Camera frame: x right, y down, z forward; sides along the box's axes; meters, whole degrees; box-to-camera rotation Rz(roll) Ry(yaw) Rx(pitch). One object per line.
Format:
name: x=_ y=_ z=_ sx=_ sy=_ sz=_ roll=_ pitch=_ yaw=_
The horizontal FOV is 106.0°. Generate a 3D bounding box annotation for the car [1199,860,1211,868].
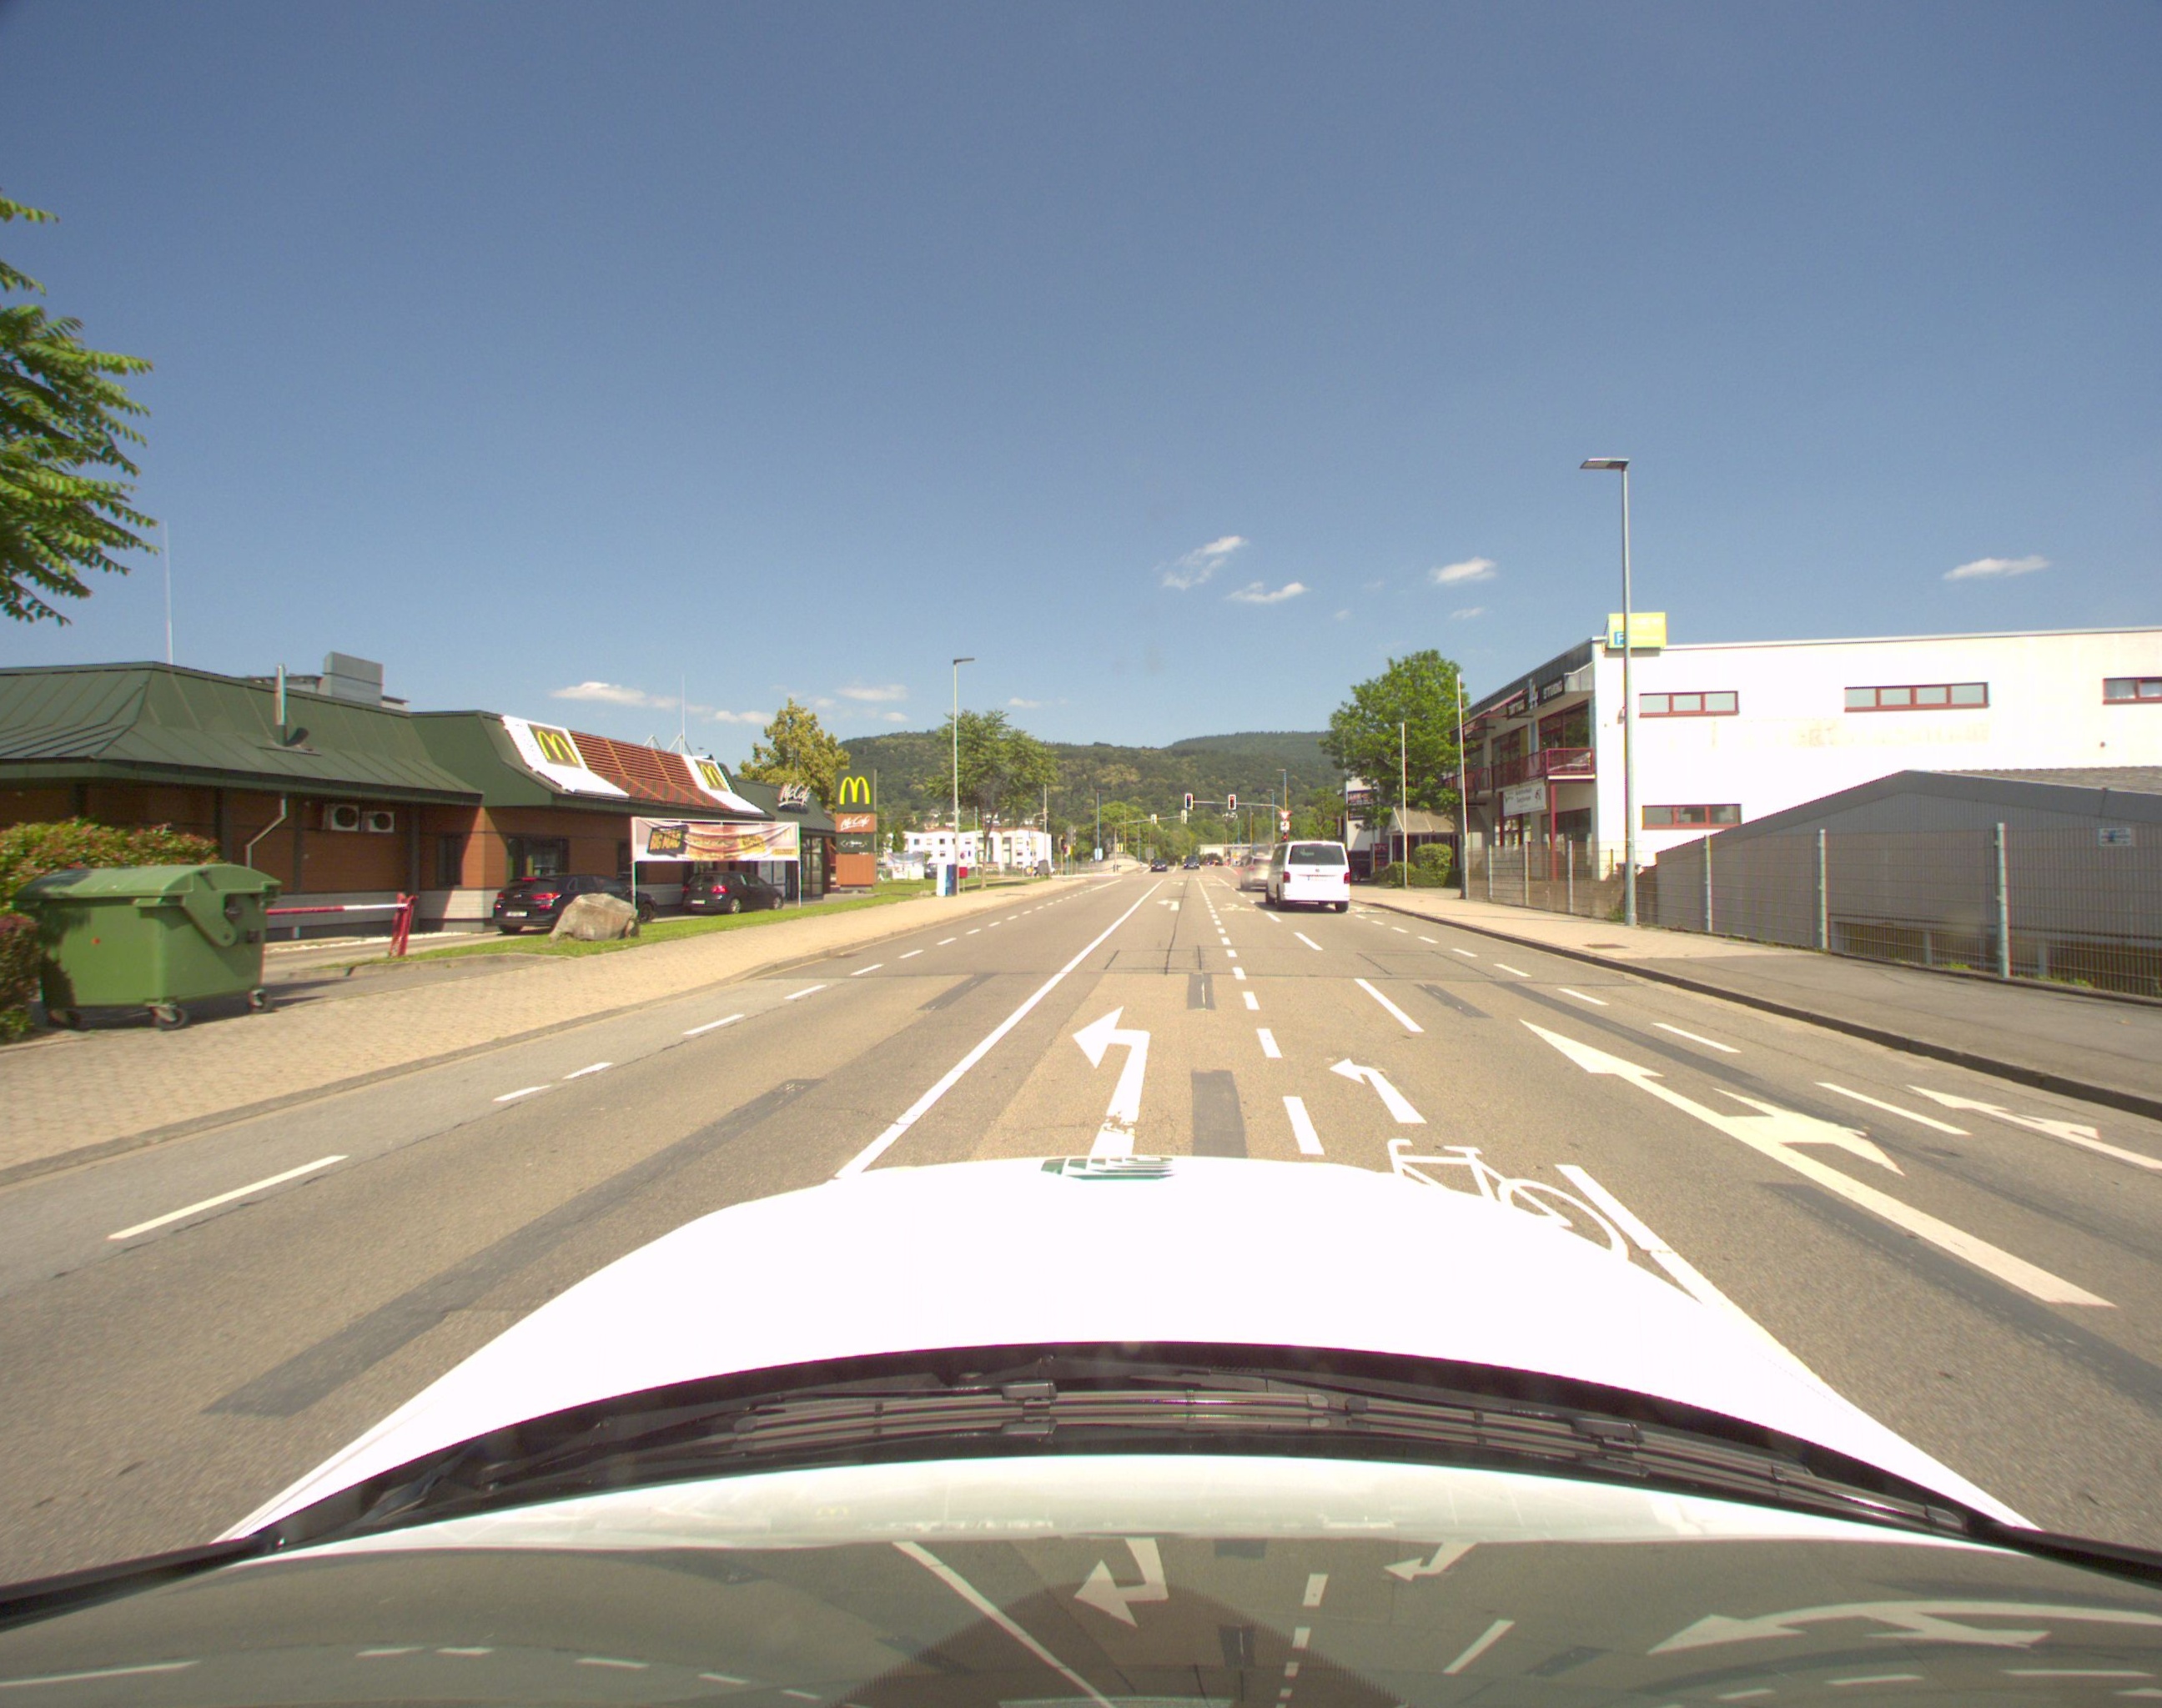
car: x=25.756 y=2.030 z=169.099 sx=1.985 sy=1.530 sz=4.049 roll=2 pitch=0 yaw=4

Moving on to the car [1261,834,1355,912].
car: x=6.553 y=0.513 z=24.008 sx=1.924 sy=2.059 sz=4.552 roll=-1 pitch=0 yaw=6

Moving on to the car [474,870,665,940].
car: x=-12.837 y=1.206 z=20.820 sx=1.818 sy=1.476 sz=4.327 roll=2 pitch=0 yaw=6

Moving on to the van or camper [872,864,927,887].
van or camper: x=-13.917 y=1.640 z=62.560 sx=3.988 sy=1.574 sz=1.993 roll=2 pitch=0 yaw=-11

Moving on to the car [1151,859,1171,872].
car: x=8.995 y=1.270 z=90.943 sx=1.982 sy=1.370 sz=4.337 roll=-1 pitch=0 yaw=8

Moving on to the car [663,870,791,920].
car: x=-11.859 y=1.324 z=27.613 sx=1.981 sy=1.416 sz=4.140 roll=2 pitch=0 yaw=9

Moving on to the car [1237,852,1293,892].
car: x=8.246 y=0.768 z=36.781 sx=1.925 sy=1.686 sz=4.552 roll=1 pitch=0 yaw=6

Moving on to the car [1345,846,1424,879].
car: x=17.111 y=0.497 z=46.102 sx=3.959 sy=1.775 sz=2.007 roll=-1 pitch=0 yaw=13

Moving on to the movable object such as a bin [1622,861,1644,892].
movable object such as a bin: x=18.926 y=0.766 z=27.921 sx=0.410 sy=1.012 sz=0.546 roll=-1 pitch=-1 yaw=9

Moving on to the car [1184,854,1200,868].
car: x=13.181 y=0.769 z=96.819 sx=1.839 sy=1.588 sz=4.009 roll=-1 pitch=0 yaw=8

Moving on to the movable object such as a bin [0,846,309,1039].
movable object such as a bin: x=-8.488 y=0.743 z=7.515 sx=1.444 sy=1.590 sz=1.306 roll=-1 pitch=0 yaw=-1

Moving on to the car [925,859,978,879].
car: x=-10.813 y=1.266 z=68.255 sx=4.309 sy=1.592 sz=1.996 roll=-1 pitch=0 yaw=-6
